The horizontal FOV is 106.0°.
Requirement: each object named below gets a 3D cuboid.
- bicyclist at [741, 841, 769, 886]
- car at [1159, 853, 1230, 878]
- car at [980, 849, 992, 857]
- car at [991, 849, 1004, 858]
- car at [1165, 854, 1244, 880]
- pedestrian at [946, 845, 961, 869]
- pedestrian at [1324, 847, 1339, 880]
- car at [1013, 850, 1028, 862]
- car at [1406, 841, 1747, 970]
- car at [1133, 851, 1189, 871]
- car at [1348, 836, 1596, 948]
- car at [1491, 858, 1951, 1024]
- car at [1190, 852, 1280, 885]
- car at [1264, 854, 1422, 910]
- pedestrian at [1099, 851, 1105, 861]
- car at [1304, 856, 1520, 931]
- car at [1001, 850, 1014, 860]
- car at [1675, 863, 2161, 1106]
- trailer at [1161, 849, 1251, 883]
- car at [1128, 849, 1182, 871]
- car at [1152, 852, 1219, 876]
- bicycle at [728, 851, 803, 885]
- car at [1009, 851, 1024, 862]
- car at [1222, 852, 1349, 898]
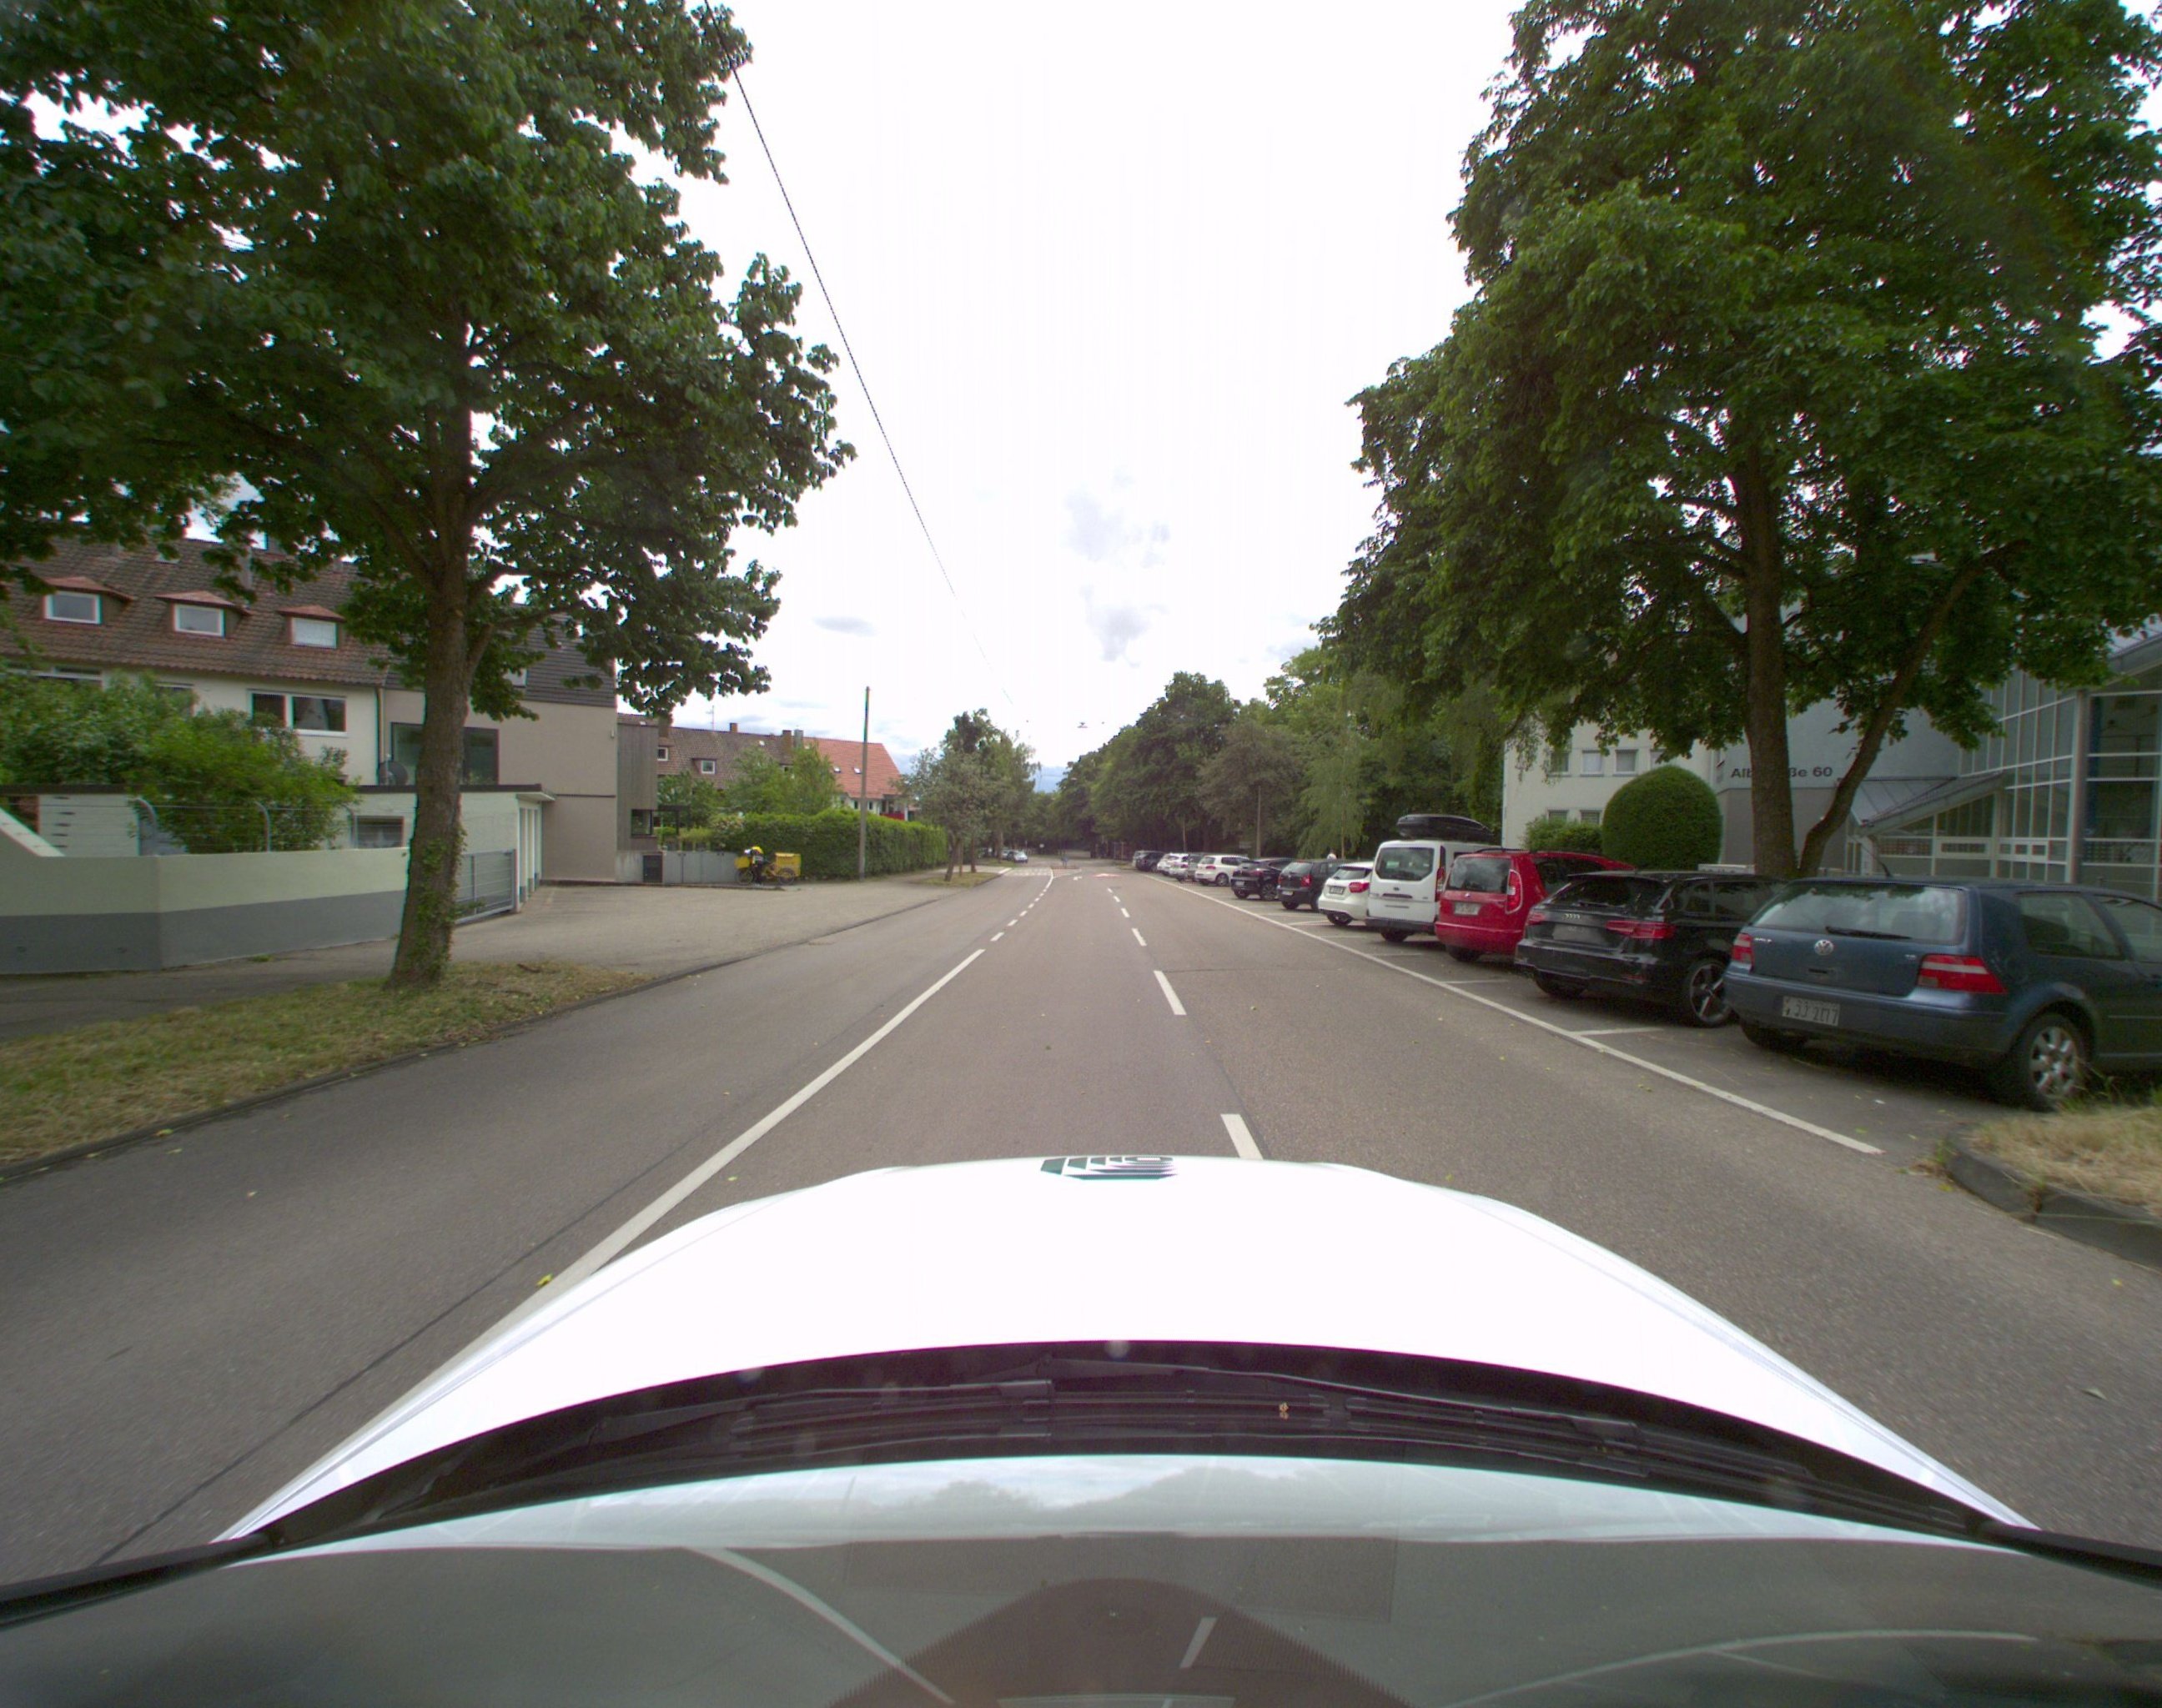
[{"bbox_3d":[-12.548,0.339,31.362,0.709,1.697,0.847,1,1,-1],"label":"bicyclist"},{"bbox_3d":[6.927,0.702,49.793,3.895,1.429,1.733,1,0,-18],"label":"car"},{"bbox_3d":[-16.638,-0.217,142.678,1.868,1.471,3.985,0,0,-11],"label":"car"},{"bbox_3d":[-13.694,-0.038,133.247,1.868,1.471,3.985,0,0,-11],"label":"car"},{"bbox_3d":[6.662,0.695,44.009,3.901,1.309,1.731,1,0,-23],"label":"car"},{"bbox_3d":[-9.447,0.216,60.243,0.972,1.730,0.848,0,0,-2],"label":"pedestrian"},{"bbox_3d":[12.835,0.497,41.725,0.646,1.671,0.745,0,0,7],"label":"pedestrian"},{"bbox_3d":[-7.798,0.271,104.641,1.864,1.471,3.993,0,0,-5],"label":"car"},{"bbox_3d":[6.979,0.693,11.606,4.003,1.620,1.875,2,0,-15],"label":"car"},{"bbox_3d":[6.134,0.504,62.388,3.895,1.429,1.733,1,0,-18],"label":"car"},{"bbox_3d":[6.991,0.638,14.548,4.106,1.754,1.772,2,0,-25],"label":"car"},{"bbox_3d":[6.586,0.819,8.480,4.036,1.405,1.747,2,0,-17],"label":"car"},{"bbox_3d":[7.372,0.696,39.079,3.897,1.449,1.732,1,0,-20],"label":"car"},{"bbox_3d":[7.370,0.779,22.981,3.895,1.449,1.833,2,0,-19],"label":"car"},{"bbox_3d":[3.107,0.307,120.121,0.736,1.570,0.654,0,0,12],"label":"pedestrian"},{"bbox_3d":[7.117,0.838,17.642,3.971,1.449,1.909,2,0,-14],"label":"car"},{"bbox_3d":[-11.072,0.188,122.099,1.864,1.471,3.993,0,0,-5],"label":"car"},{"bbox_3d":[6.915,0.850,6.157,3.969,1.405,1.749,2,0,-13],"label":"car"},{"bbox_3d":[6.323,0.624,41.325,4.165,1.573,1.702,2,0,-18],"label":"trailer"},{"bbox_3d":[5.917,0.481,65.181,3.895,1.668,1.733,1,0,-18],"label":"car"},{"bbox_3d":[6.715,0.632,52.373,3.895,1.429,1.733,1,0,-18],"label":"car"},{"bbox_3d":[-12.253,0.557,31.728,2.651,1.266,0.842,1,1,-19],"label":"bicycle"},{"bbox_3d":[-8.738,0.318,110.233,1.864,1.471,3.993,0,0,-5],"label":"car"},{"bbox_3d":[7.029,0.723,27.990,3.900,1.449,1.831,1,0,-22],"label":"car"}]
